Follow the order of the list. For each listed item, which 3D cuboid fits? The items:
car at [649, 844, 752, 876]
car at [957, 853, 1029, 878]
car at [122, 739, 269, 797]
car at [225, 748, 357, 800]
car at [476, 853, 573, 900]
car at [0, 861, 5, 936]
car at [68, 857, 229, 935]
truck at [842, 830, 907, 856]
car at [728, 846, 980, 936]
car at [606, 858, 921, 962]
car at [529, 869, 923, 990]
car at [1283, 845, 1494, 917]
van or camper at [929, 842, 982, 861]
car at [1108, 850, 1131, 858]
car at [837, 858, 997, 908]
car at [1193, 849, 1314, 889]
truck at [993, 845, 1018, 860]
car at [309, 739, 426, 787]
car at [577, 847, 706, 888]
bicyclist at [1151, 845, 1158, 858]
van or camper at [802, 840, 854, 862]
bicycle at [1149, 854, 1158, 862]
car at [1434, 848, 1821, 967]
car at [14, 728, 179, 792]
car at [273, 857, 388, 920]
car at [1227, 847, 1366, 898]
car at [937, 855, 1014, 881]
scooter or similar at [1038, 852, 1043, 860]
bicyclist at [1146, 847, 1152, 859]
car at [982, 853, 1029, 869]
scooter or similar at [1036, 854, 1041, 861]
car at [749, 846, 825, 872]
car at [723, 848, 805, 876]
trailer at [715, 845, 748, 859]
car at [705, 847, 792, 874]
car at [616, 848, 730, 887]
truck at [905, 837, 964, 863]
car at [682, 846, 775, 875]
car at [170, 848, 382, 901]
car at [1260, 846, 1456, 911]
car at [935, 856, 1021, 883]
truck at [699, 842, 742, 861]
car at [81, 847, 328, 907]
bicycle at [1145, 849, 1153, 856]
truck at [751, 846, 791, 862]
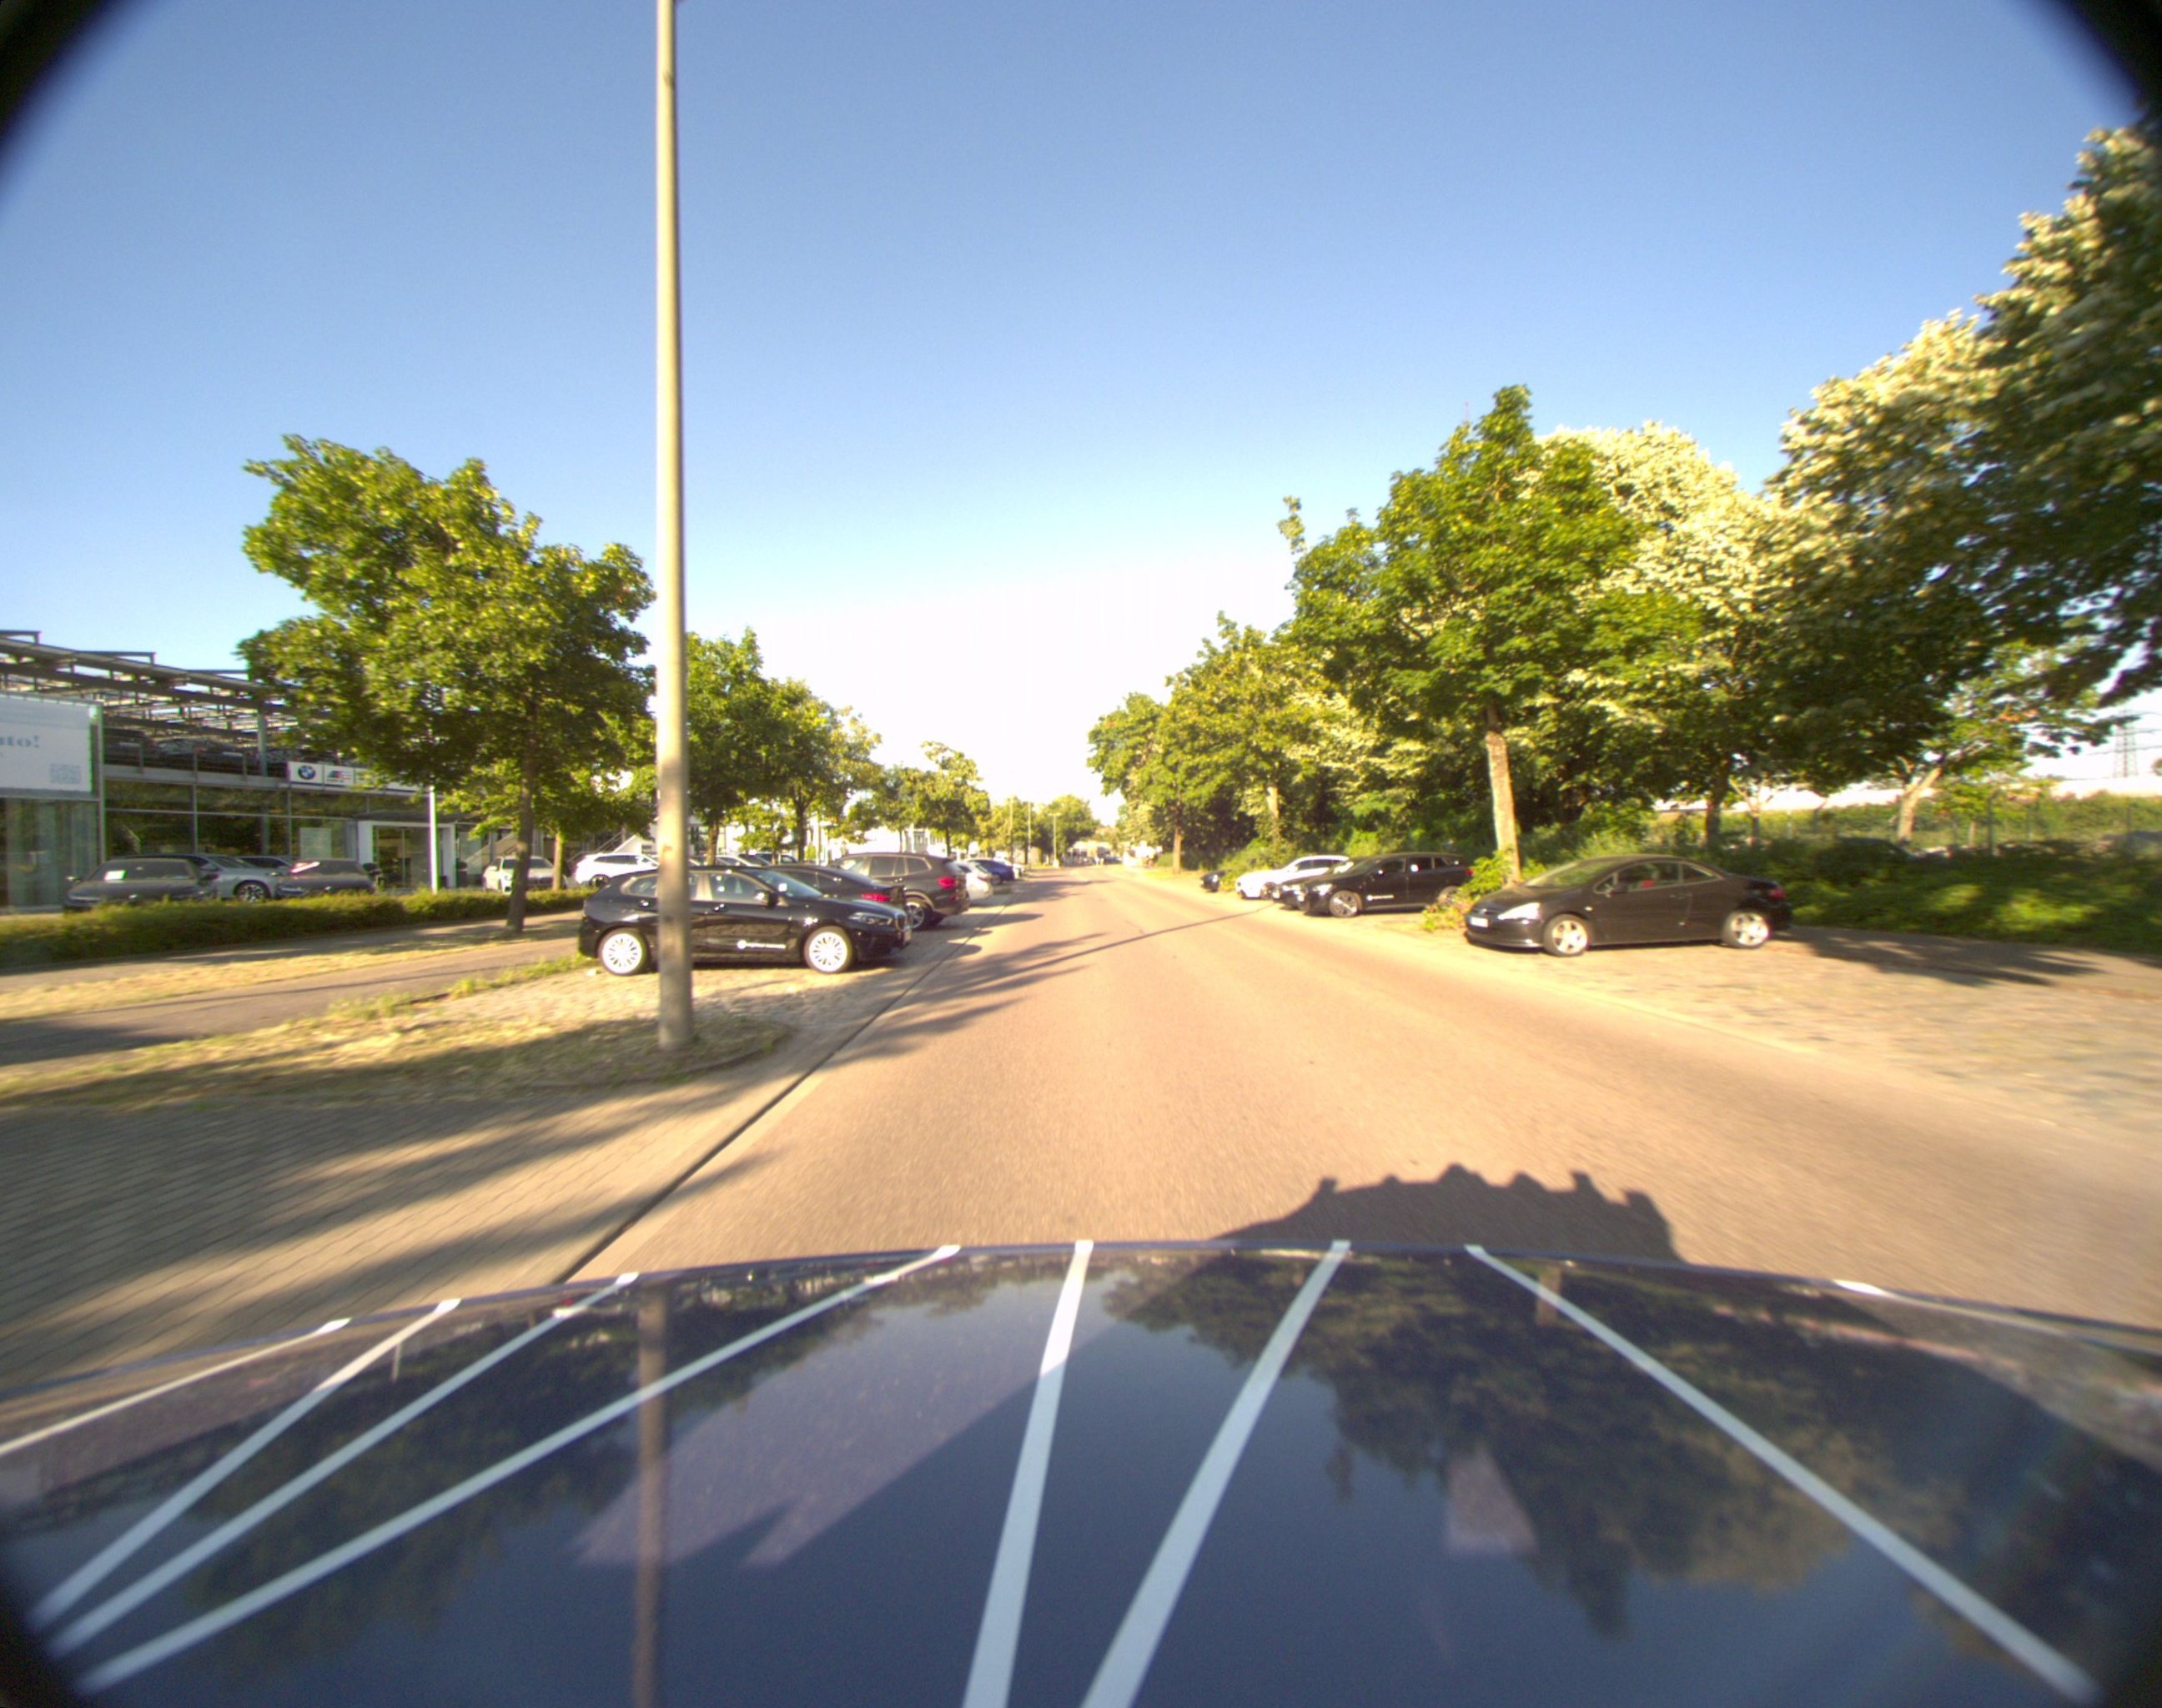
[{"bbox_3d":[-19.418,0.313,38.873,4.612,1.565,1.995,0,0,-29],"label":"car"},{"bbox_3d":[-5.774,0.750,50.074,4.604,1.575,1.999,1,0,-5],"label":"car"},{"bbox_3d":[-33.022,-3.162,28.372,3.994,1.656,1.789,-3,0,11],"label":"car"},{"bbox_3d":[-31.985,-3.200,30.804,3.994,1.656,1.789,-3,0,11],"label":"car"},{"bbox_3d":[-20.524,0.743,27.932,5.176,1.562,2.004,0,1,44],"label":"car"},{"bbox_3d":[-20.358,0.873,12.845,4.775,1.455,2.004,0,1,41],"label":"car"},{"bbox_3d":[-20.359,0.800,16.671,4.775,1.455,2.004,0,1,39],"label":"car"},{"bbox_3d":[-30.379,-1.512,111.336,10.091,3.623,3.302,0,1,33],"label":"truck"},{"bbox_3d":[-4.732,0.741,16.379,4.705,1.741,2.192,-1,0,3],"label":"car"},{"bbox_3d":[-5.202,0.889,12.963,4.493,1.541,2.033,-1,0,0],"label":"car"},{"bbox_3d":[-4.655,0.964,10.578,4.493,1.396,2.033,-1,0,-2],"label":"car"},{"bbox_3d":[7.671,0.638,19.263,4.491,1.522,1.999,-3,1,-2],"label":"car"},{"bbox_3d":[-19.435,-0.416,117.377,7.989,2.883,2.948,0,1,29],"label":"van or camper"},{"bbox_3d":[9.406,-0.073,187.237,5.275,2.002,2.410,-1,0,38],"label":"car"},{"bbox_3d":[-5.114,0.886,24.260,4.707,1.471,1.999,1,0,-2],"label":"car"},{"bbox_3d":[7.361,0.615,32.613,4.662,1.413,1.916,-3,1,-4],"label":"car"},{"bbox_3d":[-13.543,-0.269,136.212,2.542,2.704,5.979,0,0,15],"label":"truck"},{"bbox_3d":[-31.828,-4.024,33.933,3.993,1.656,1.789,-3,0,12],"label":"car"},{"bbox_3d":[-19.122,0.575,33.285,4.737,1.680,2.405,0,0,-28],"label":"car"},{"bbox_3d":[9.004,-0.286,93.131,0.733,1.521,0.951,0,1,-2],"label":"bicyclist"},{"bbox_3d":[-39.140,-0.407,117.638,8.117,3.309,2.418,0,1,25],"label":"van or camper"},{"bbox_3d":[8.817,0.477,92.681,0.767,1.033,2.217,-1,0,-2],"label":"bicycle"},{"bbox_3d":[8.158,0.739,11.666,4.491,1.453,1.999,-3,1,-2],"label":"car"},{"bbox_3d":[-33.544,-3.154,25.925,3.994,1.656,1.789,-3,0,11],"label":"car"},{"bbox_3d":[-20.340,0.837,20.549,4.775,1.455,2.004,0,1,44],"label":"car"},{"bbox_3d":[7.560,0.632,26.917,4.298,1.522,2.000,-3,1,-1],"label":"car"},{"bbox_3d":[-6.249,0.833,45.484,4.388,1.471,1.999,1,0,-2],"label":"car"},{"bbox_3d":[-6.865,0.348,128.320,0.547,1.328,1.483,0,1,12],"label":"scooter or similar"},{"bbox_3d":[9.005,-0.103,100.297,0.733,1.521,0.951,0,1,-2],"label":"bicyclist"},{"bbox_3d":[-6.920,0.636,70.109,4.210,1.435,2.087,1,0,-4],"label":"car"},{"bbox_3d":[-7.073,0.603,126.826,0.547,1.189,1.483,-1,0,12],"label":"scooter or similar"},{"bbox_3d":[-20.044,0.330,51.824,4.612,1.657,1.995,0,1,-28],"label":"car"},{"bbox_3d":[-20.204,0.504,48.417,4.612,1.657,1.995,0,1,-29],"label":"car"},{"bbox_3d":[-60.181,-0.342,130.764,1.994,2.422,4.867,0,0,30],"label":"trailer"},{"bbox_3d":[-19.898,0.378,45.451,4.612,1.565,1.995,0,0,-29],"label":"car"},{"bbox_3d":[-19.337,0.596,36.179,4.611,1.565,1.995,-3,2,-28],"label":"car"},{"bbox_3d":[-20.448,-0.554,105.536,8.230,3.502,3.121,0,1,34],"label":"truck"},{"bbox_3d":[-19.619,0.342,42.330,4.612,1.565,1.995,0,0,-29],"label":"car"},{"bbox_3d":[-28.573,0.684,27.199,4.793,1.763,1.997,-1,1,-18],"label":"car"},{"bbox_3d":[7.838,0.653,21.775,4.864,1.522,1.999,-3,1,-5],"label":"car"},{"bbox_3d":[-5.723,0.848,42.734,4.637,1.448,1.999,1,0,-2],"label":"car"},{"bbox_3d":[-68.805,-0.436,145.158,2.670,3.555,7.127,0,1,30],"label":"truck"},{"bbox_3d":[-27.765,0.668,24.313,4.793,1.763,1.997,-1,1,-18],"label":"car"},{"bbox_3d":[9.087,-0.195,101.367,0.768,1.033,2.216,-1,0,-3],"label":"bicycle"},{"bbox_3d":[-57.151,-0.050,140.357,1.994,2.889,7.127,0,1,30],"label":"truck"}]
